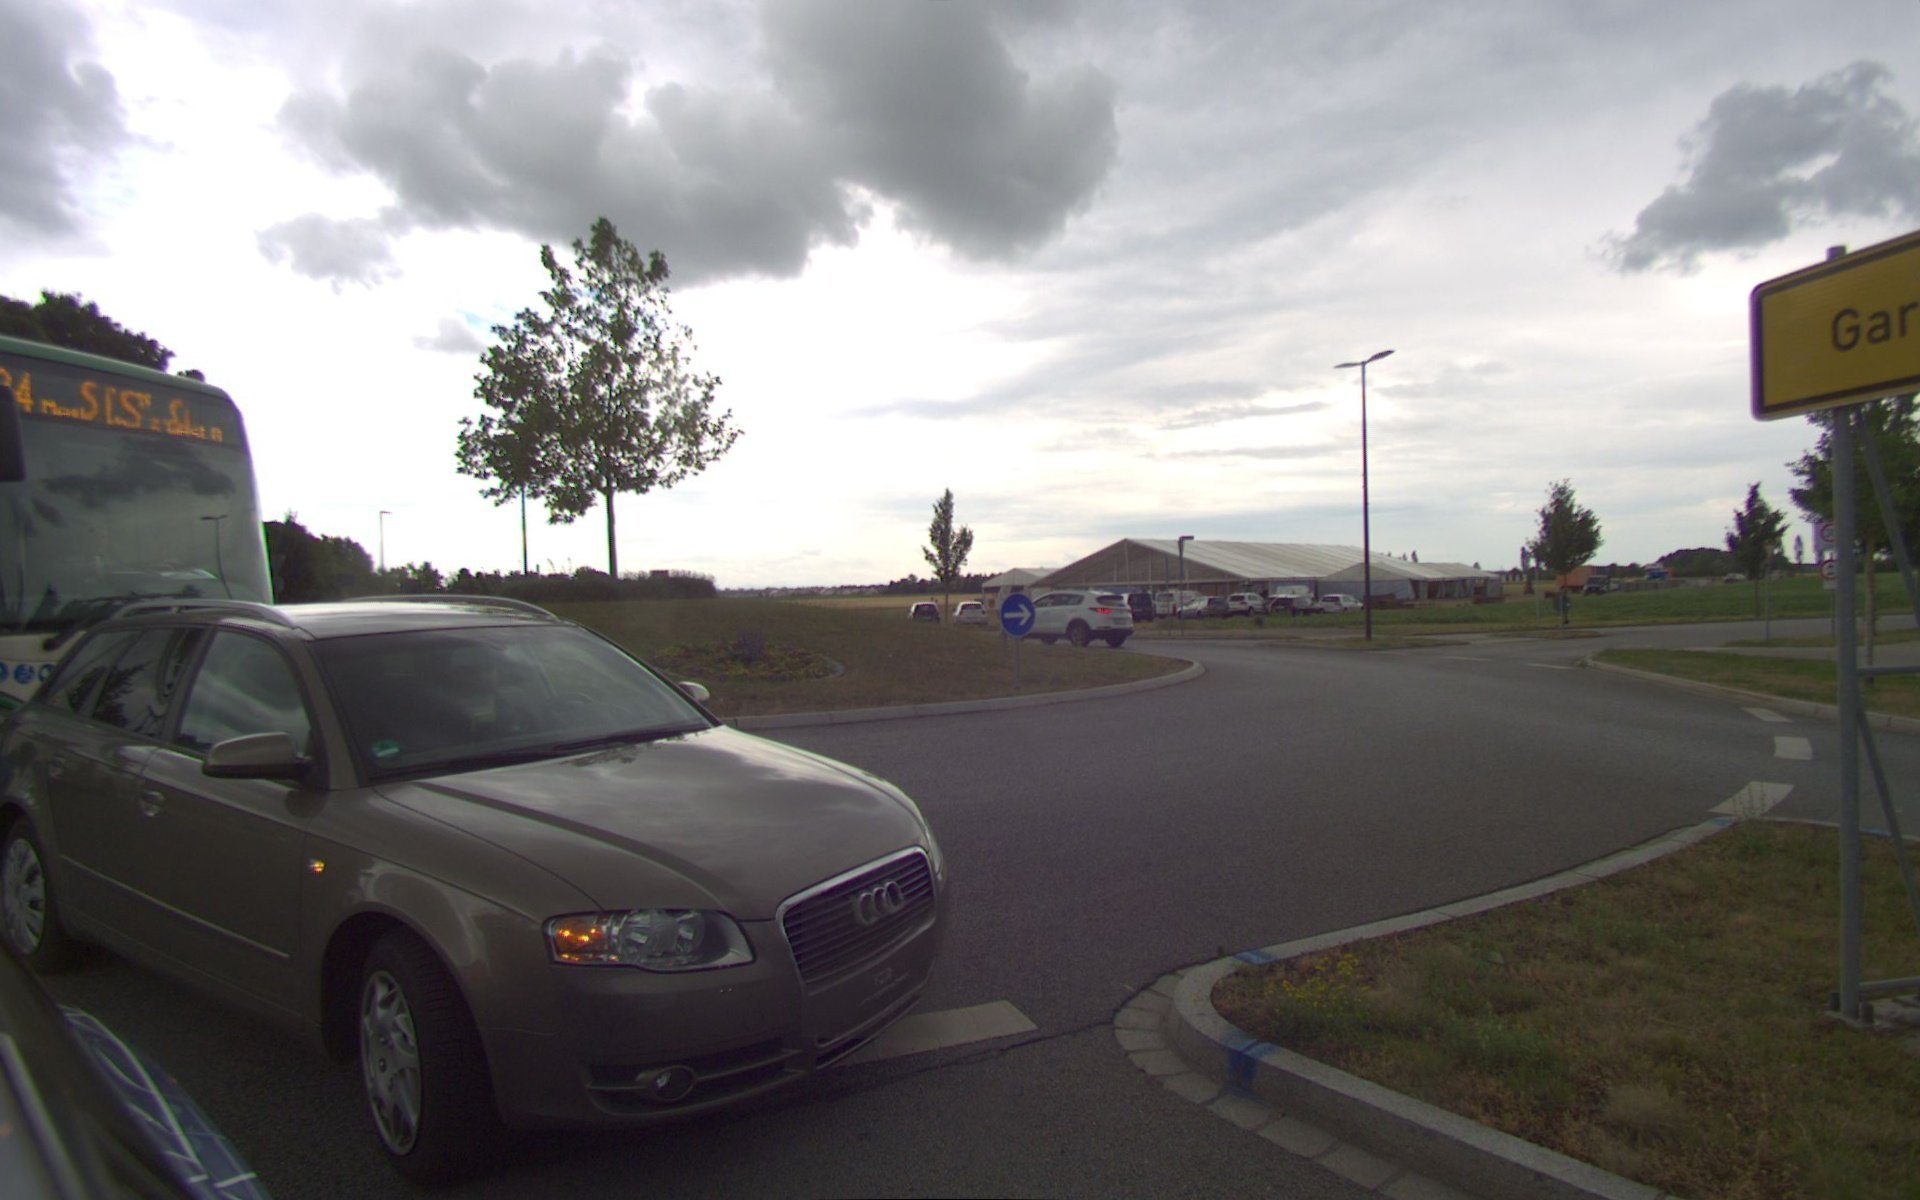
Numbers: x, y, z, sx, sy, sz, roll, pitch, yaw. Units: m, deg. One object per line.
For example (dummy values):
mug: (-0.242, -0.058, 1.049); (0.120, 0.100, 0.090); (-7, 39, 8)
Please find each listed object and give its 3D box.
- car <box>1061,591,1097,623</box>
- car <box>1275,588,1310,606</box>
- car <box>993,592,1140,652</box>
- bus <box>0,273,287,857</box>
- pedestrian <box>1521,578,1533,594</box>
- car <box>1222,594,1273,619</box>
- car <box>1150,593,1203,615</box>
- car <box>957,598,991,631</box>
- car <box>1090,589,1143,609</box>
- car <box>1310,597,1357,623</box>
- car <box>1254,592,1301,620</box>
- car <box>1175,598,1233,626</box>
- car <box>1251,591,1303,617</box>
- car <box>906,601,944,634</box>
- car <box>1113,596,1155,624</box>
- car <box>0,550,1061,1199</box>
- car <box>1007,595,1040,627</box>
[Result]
car: (6.753, 0.383, 57.667); (1.694, 1.564, 3.996); (-4, 2, 4)
car: (32.433, -0.328, 98.571); (1.835, 1.618, 3.776); (-1, 0, 42)
car: (3.117, 0.624, 30.471); (1.687, 1.638, 4.458); (-2, 0, -40)
bus: (-8.571, -0.184, 6.904); (6.464, 3.283, 2.522); (0, 0, 4)
pedestrian: (72.113, -1.784, 128.771); (1.045, 2.029, 1.052); (-2, 1, -44)
car: (19.569, 0.446, 68.879); (1.835, 1.618, 3.776); (-1, 0, 42)
car: (15.215, 0.261, 71.004); (1.951, 1.453, 3.945); (-1, 1, 41)
car: (0.829, 0.776, 57.454); (1.694, 1.564, 3.996); (-4, 2, 4)
car: (12.055, -0.069, 77.874); (3.939, 1.453, 1.954); (-2, 1, -42)
car: (24.104, 0.621, 65.312); (1.729, 1.565, 3.950); (-1, 0, 37)
car: (19.053, 0.341, 60.908); (1.613, 1.618, 3.875); (-2, 0, 1)
car: (14.737, 0.706, 61.306); (1.705, 1.618, 3.887); (-2, 0, -15)
car: (21.051, 0.230, 67.127); (1.835, 1.618, 3.776); (-1, 0, 42)
car: (-1.931, 0.964, 57.202); (1.694, 1.564, 3.996); (-4, 2, 4)
car: (9.945, 0.539, 58.070); (1.926, 1.453, 3.996); (-1, 0, 3)
car: (-2.050, 0.671, 3.836); (4.525, 1.476, 1.764); (-1, 0, 32)
car: (3.602, 0.592, 57.529); (1.694, 1.564, 3.996); (-4, 2, 4)
